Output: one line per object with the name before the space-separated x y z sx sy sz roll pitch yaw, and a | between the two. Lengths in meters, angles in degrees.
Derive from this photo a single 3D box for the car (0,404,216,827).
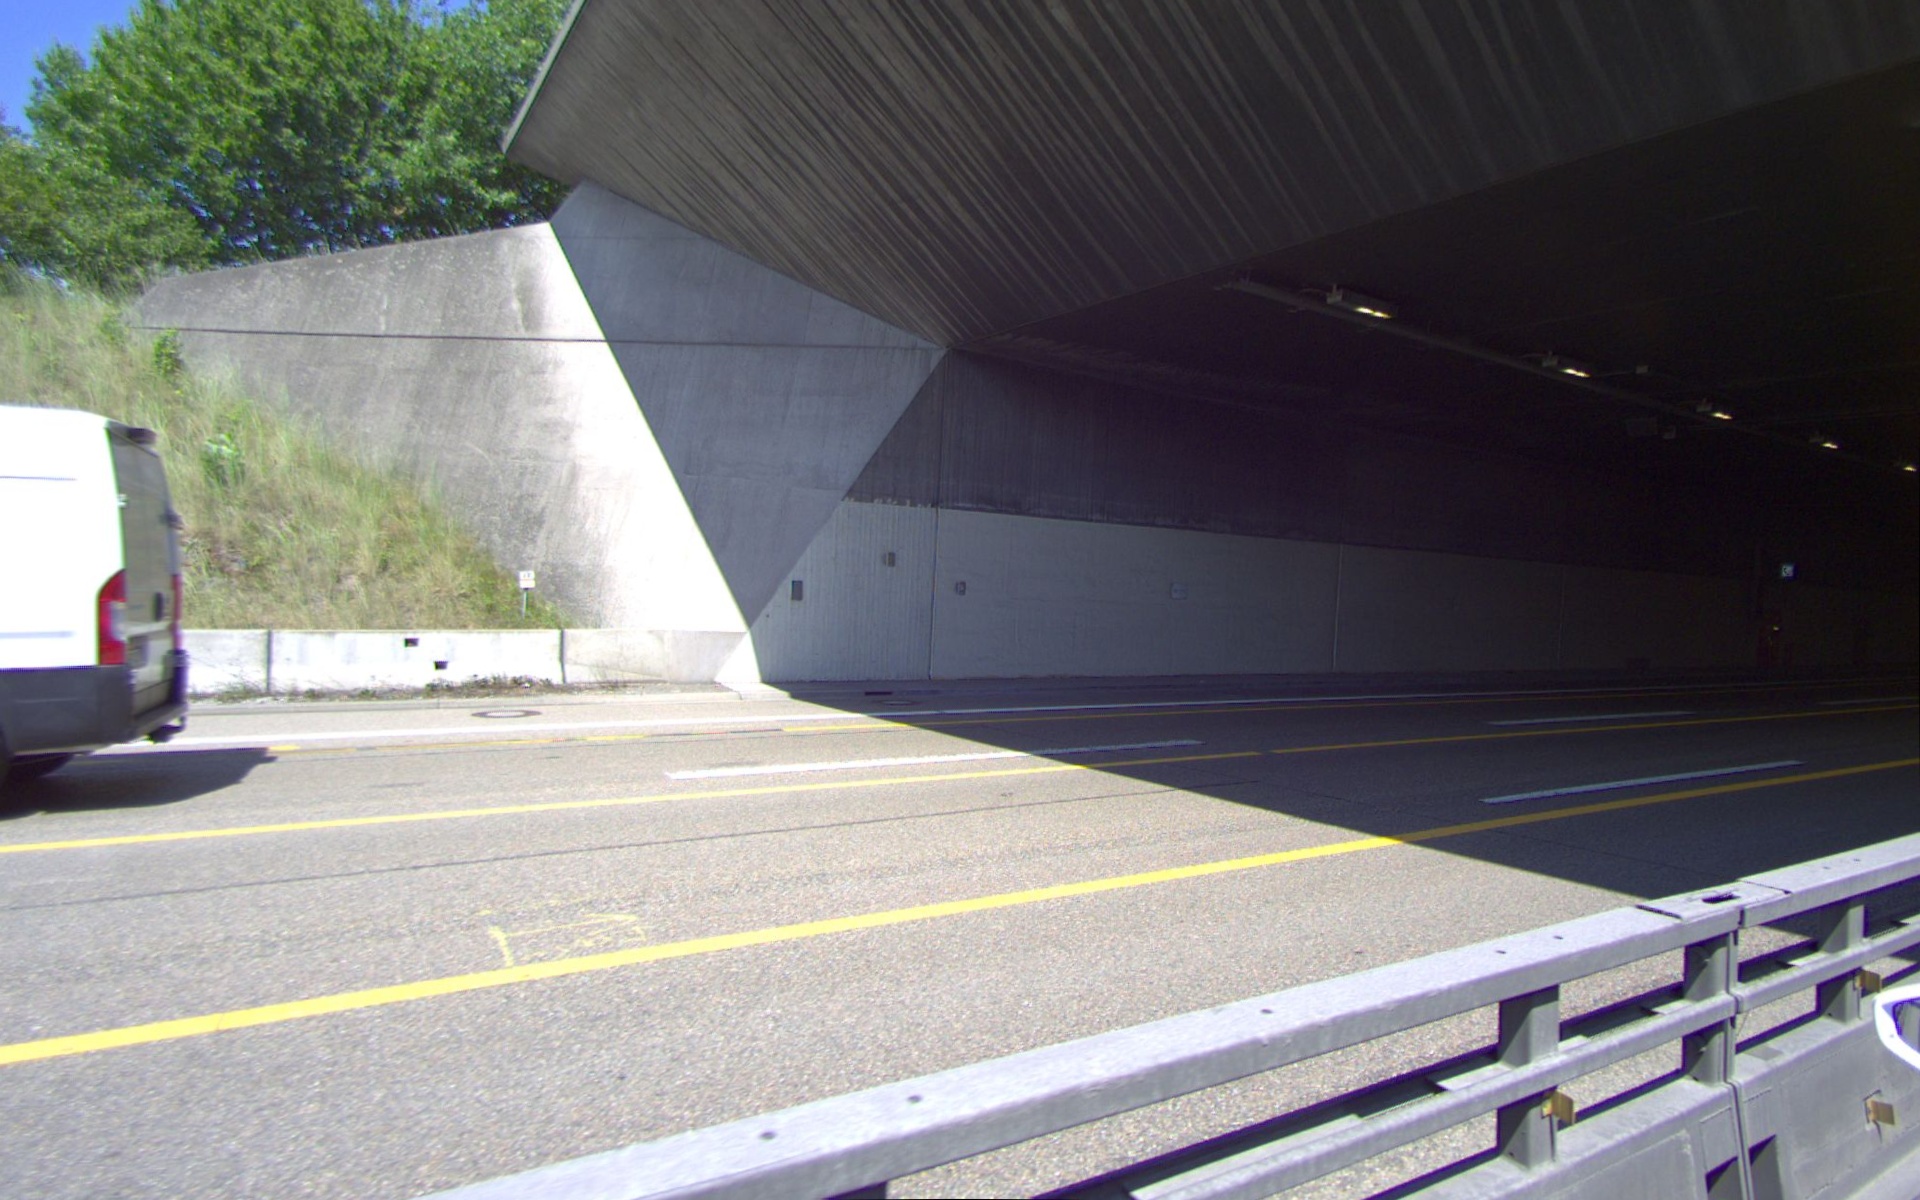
car | -8.174 0.038 5.800 5.971 2.548 1.984 2 0 -30
